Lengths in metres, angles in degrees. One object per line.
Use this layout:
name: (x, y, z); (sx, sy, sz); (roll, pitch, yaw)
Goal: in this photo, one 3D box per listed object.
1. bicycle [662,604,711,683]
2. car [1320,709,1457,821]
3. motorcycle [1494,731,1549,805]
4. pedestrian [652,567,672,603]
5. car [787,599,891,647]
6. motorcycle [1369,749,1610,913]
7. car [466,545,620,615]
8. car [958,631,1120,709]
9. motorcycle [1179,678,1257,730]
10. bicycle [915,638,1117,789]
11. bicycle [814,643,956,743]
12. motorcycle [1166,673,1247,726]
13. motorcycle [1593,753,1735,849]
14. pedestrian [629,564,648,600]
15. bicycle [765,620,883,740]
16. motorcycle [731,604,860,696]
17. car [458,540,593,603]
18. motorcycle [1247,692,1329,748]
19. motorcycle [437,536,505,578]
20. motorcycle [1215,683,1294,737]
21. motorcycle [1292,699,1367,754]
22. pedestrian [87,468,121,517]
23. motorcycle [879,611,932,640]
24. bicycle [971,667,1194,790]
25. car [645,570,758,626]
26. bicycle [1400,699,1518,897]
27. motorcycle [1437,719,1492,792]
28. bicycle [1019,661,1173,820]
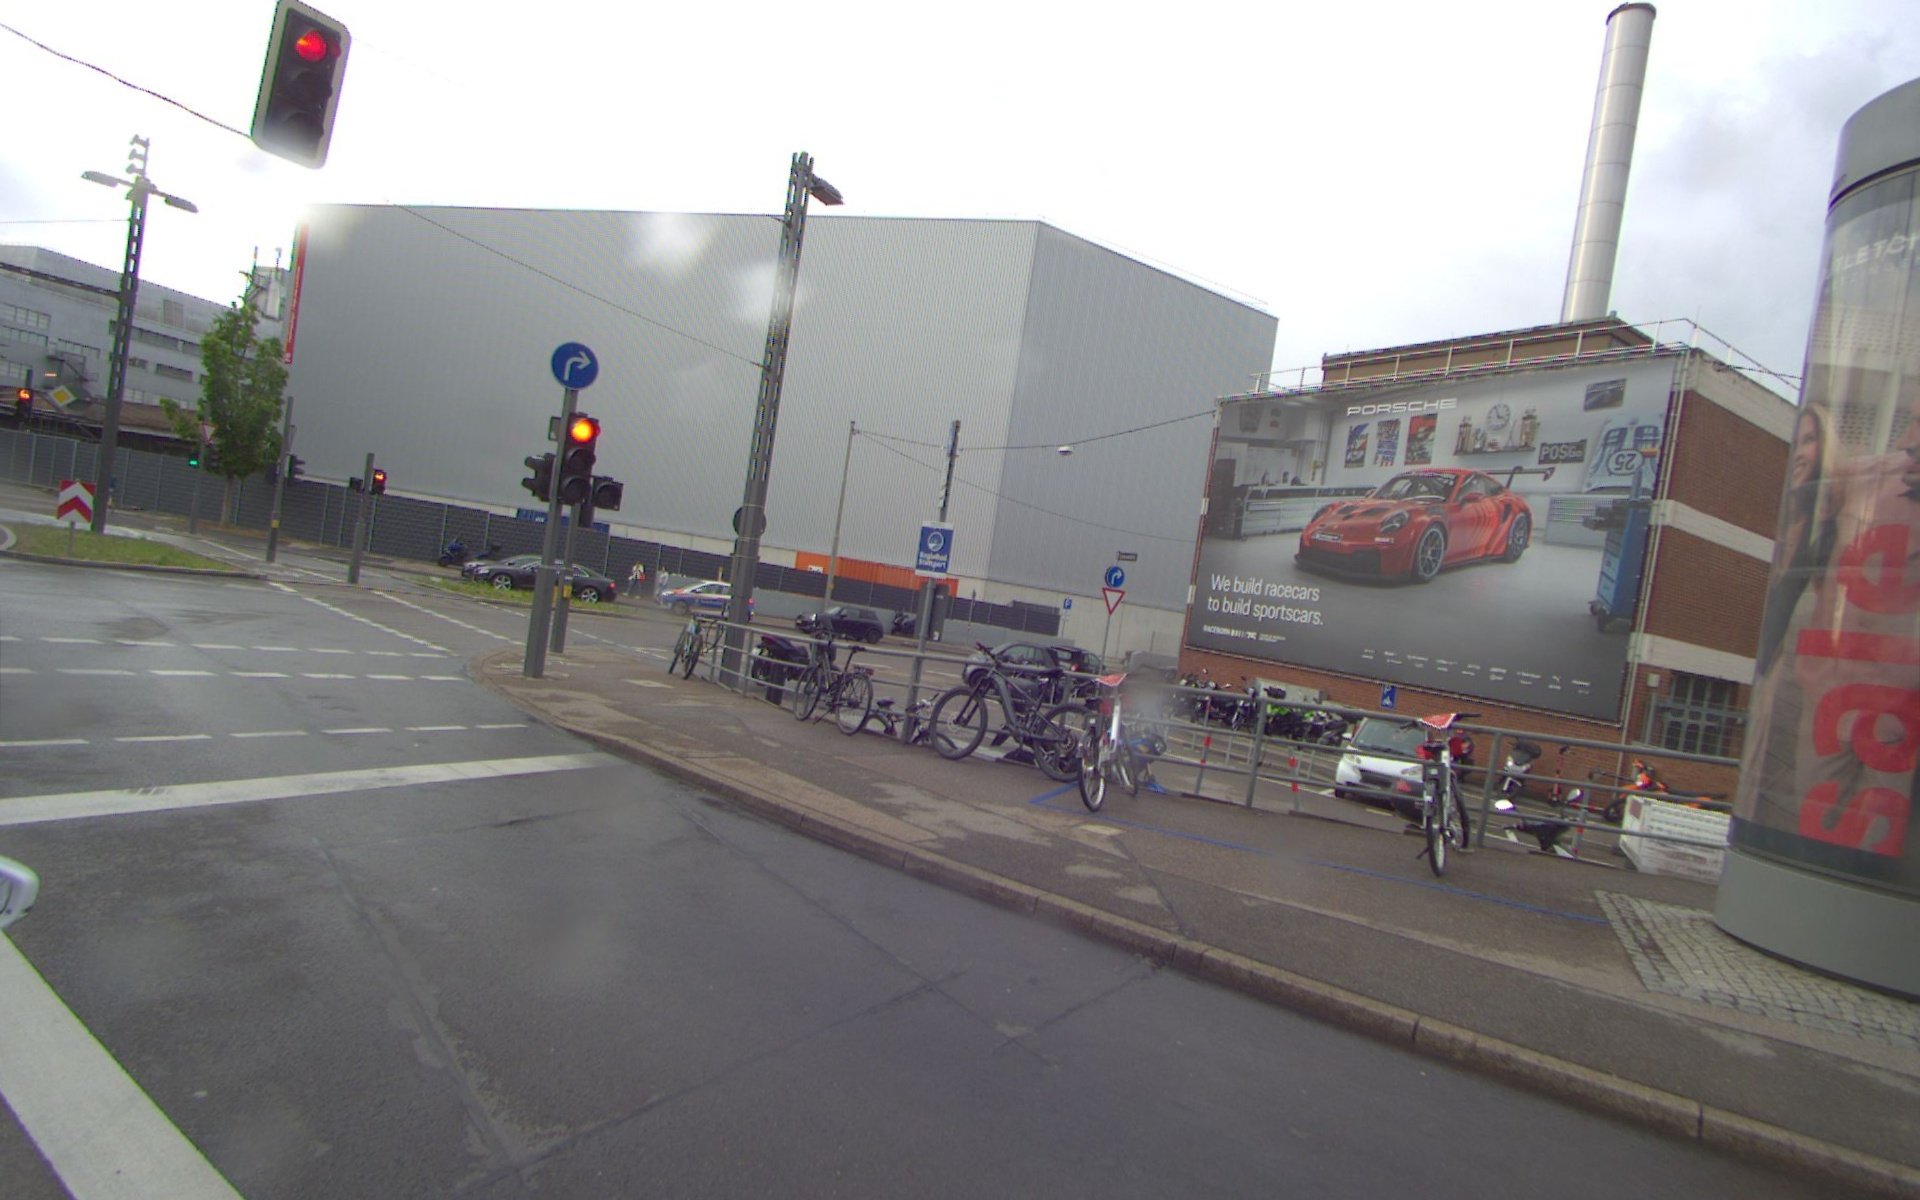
bicycle: (-4.460, 0.686, 16.344); (0.381, 1.111, 1.740); (6, 0, -24)
car: (8.104, 2.984, 18.865); (1.665, 1.499, 3.554); (10, 1, 32)
motorcycle: (12.028, 3.564, 21.522); (0.564, 1.327, 1.863); (10, 4, 38)
pedestrian: (-13.134, -0.677, 44.304); (0.642, 1.499, 0.436); (7, 0, -25)
car: (-5.221, 0.996, 43.465); (3.957, 1.408, 1.744); (10, 0, -28)
motorcycle: (4.645, 2.010, 8.968); (1.718, 1.002, 0.699); (8, 0, 21)
car: (-14.032, -0.658, 33.908); (4.535, 1.557, 1.744); (10, 0, -28)
car: (2.123, 1.909, 27.776); (4.091, 1.547, 1.836); (8, -2, -3)
motorcycle: (7.013, 2.830, 27.324); (1.998, 1.206, 0.605); (6, 3, -26)
bicycle: (0.510, 1.076, 9.931); (1.969, 1.176, 0.385); (6, 0, 35)
bicycle: (-0.914, 1.076, 11.818); (1.789, 0.916, 0.530); (6, -1, 44)
motorcycle: (6.974, 2.818, 28.531); (1.987, 1.206, 0.608); (8, 3, -4)
motorcycle: (13.780, 3.892, 19.736); (0.922, 1.327, 1.961); (5, 4, -41)
pedestrian: (-14.047, -0.800, 43.935); (0.605, 1.499, 0.421); (7, 0, -22)
bicycle: (-1.593, 0.886, 11.551); (0.383, 1.133, 1.731); (6, 0, -39)
motorcycle: (-3.016, 0.957, 18.694); (0.746, 1.470, 2.225); (8, 0, 43)
car: (-15.859, -1.044, 36.768); (4.253, 1.557, 1.744); (10, 0, -28)
motorcycle: (8.234, 3.013, 25.228); (1.999, 1.206, 0.605); (6, 3, -29)
motorcycle: (-19.938, -1.760, 41.023); (2.335, 1.360, 0.648); (8, 0, -30)
motorcycle: (7.718, 2.886, 26.348); (1.999, 1.206, 0.605); (6, 3, -29)
motorcycle: (9.017, 3.086, 24.518); (2.005, 1.206, 0.603); (6, 4, -38)
pedestrian: (-31.261, -3.913, 36.740); (0.805, 1.630, 0.760); (6, 0, -41)
motorcycle: (-2.816, 1.321, 52.012); (2.470, 1.200, 0.991); (8, 0, -34)
bicycle: (1.254, 1.299, 10.531); (2.138, 0.916, 0.693); (6, -1, 32)
car: (-10.386, -0.075, 40.471); (3.938, 1.620, 1.898); (10, -1, -28)
bicycle: (3.748, 1.417, 7.674); (0.581, 1.176, 1.805); (6, 0, 23)
motorcycle: (11.238, 3.415, 22.371); (0.677, 1.327, 2.016); (10, 3, 33)
bicycle: (1.228, 1.157, 8.729); (0.666, 1.154, 1.774); (6, -1, 27)
